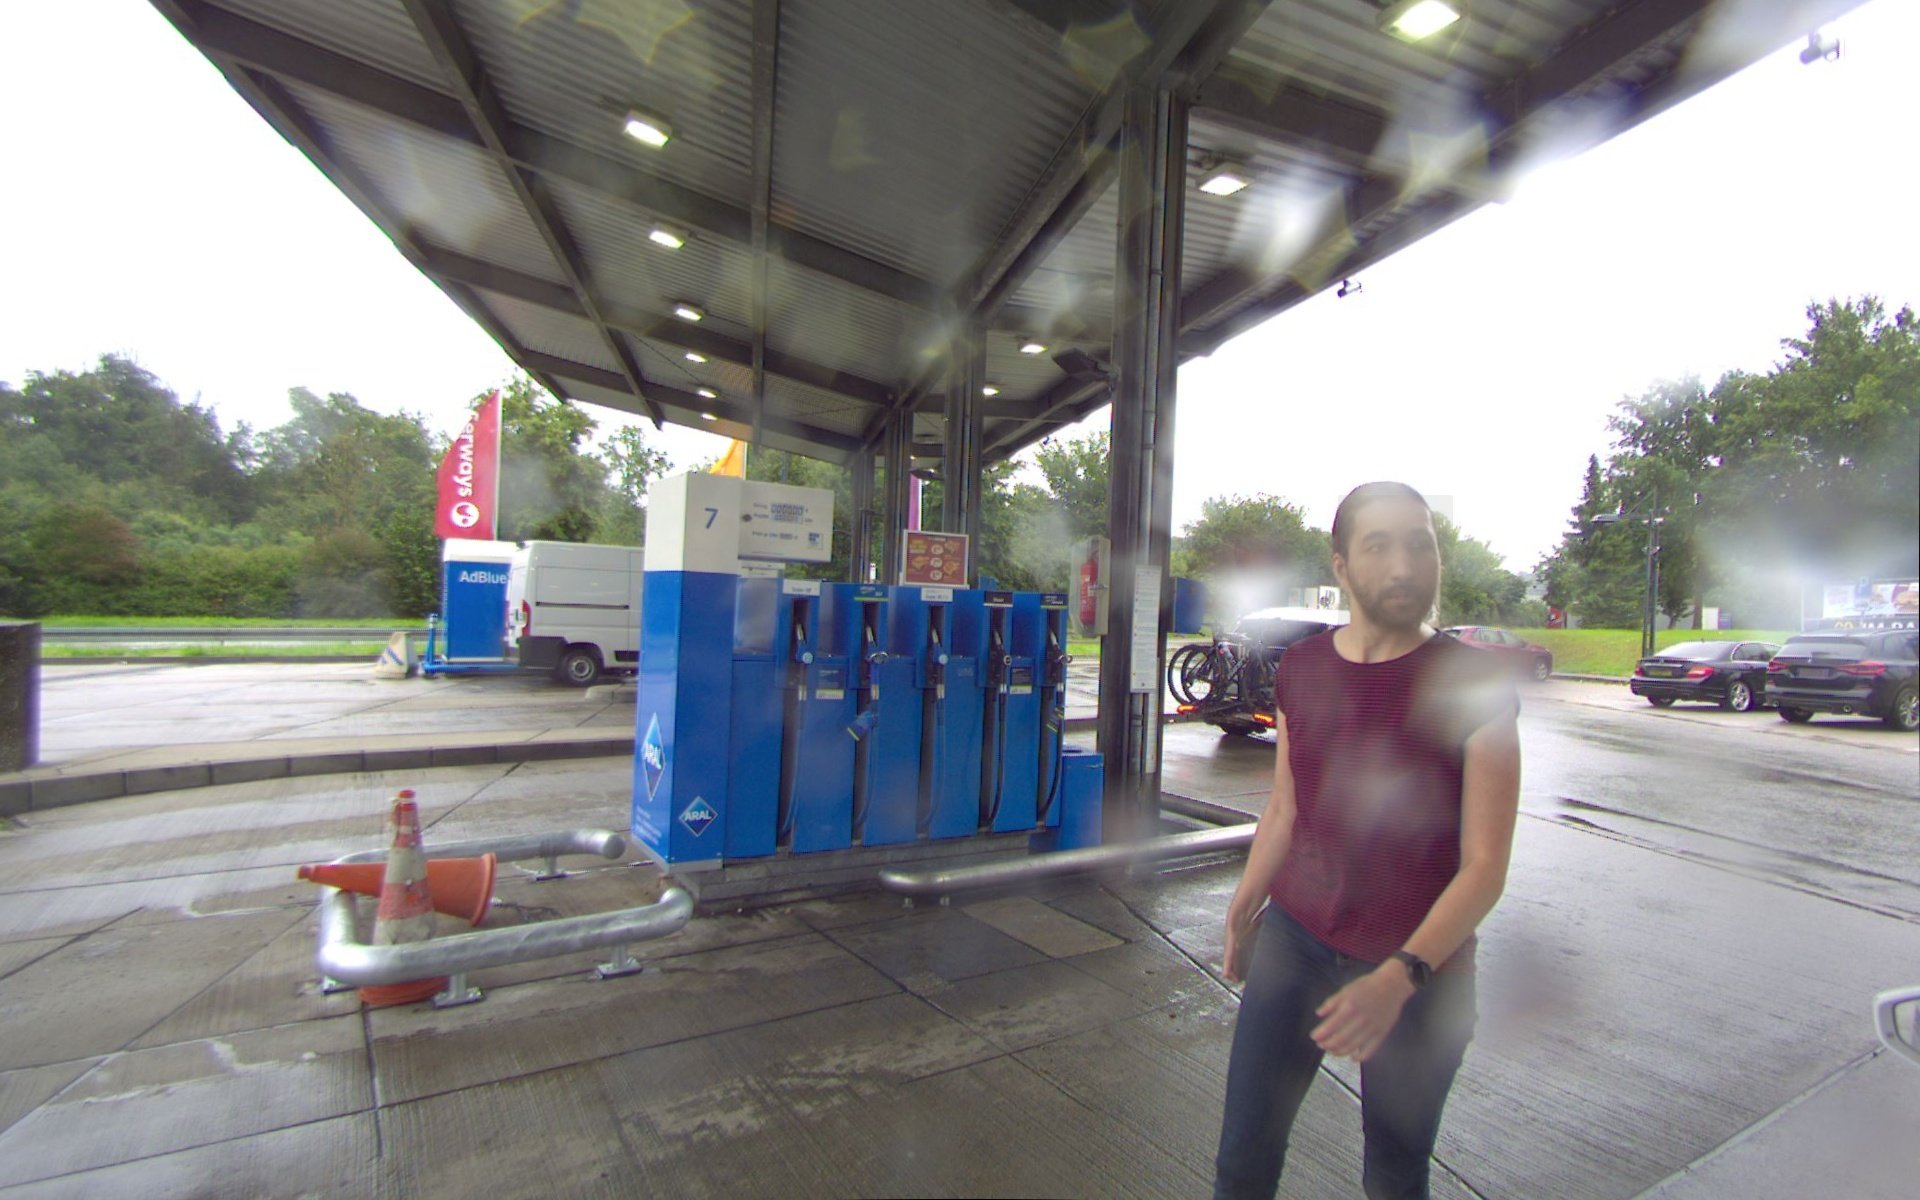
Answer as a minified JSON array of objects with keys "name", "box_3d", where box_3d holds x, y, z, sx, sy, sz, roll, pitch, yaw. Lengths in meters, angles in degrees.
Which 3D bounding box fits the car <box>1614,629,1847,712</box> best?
[{"name":"car","box_3d":[15.948,1.416,20.830,4.119,1.585,1.883,1,-1,-19]}]

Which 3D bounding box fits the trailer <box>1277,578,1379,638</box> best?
[{"name":"trailer","box_3d":[30.922,0.749,83.862,3.416,4.618,13.847,2,0,40]}]

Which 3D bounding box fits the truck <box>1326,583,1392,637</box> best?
[{"name":"truck","box_3d":[35.595,0.919,89.466,3.416,4.618,6.704,2,0,40]}]

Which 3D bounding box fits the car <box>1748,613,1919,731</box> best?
[{"name":"car","box_3d":[16.161,1.188,17.411,4.344,1.852,1.883,1,-1,-19]}]

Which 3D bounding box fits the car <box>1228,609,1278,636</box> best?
[{"name":"car","box_3d":[20.742,1.572,71.004,1.903,1.862,4.373,1,0,38]}]

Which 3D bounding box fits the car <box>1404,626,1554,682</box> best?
[{"name":"car","box_3d":[16.011,1.644,30.976,4.294,1.617,1.879,1,-1,-24]}]

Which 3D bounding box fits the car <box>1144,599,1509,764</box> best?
[{"name":"car","box_3d":[4.560,0.846,12.080,4.960,1.586,1.800,1,0,-39]}]

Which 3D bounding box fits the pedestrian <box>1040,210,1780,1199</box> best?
[{"name":"pedestrian","box_3d":[0.708,0.454,1.676,0.830,1.757,0.790,2,-1,-31]}]

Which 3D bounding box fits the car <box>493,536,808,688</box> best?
[{"name":"car","box_3d":[-5.759,0.267,18.956,5.227,2.496,2.306,1,-1,-34]}]
